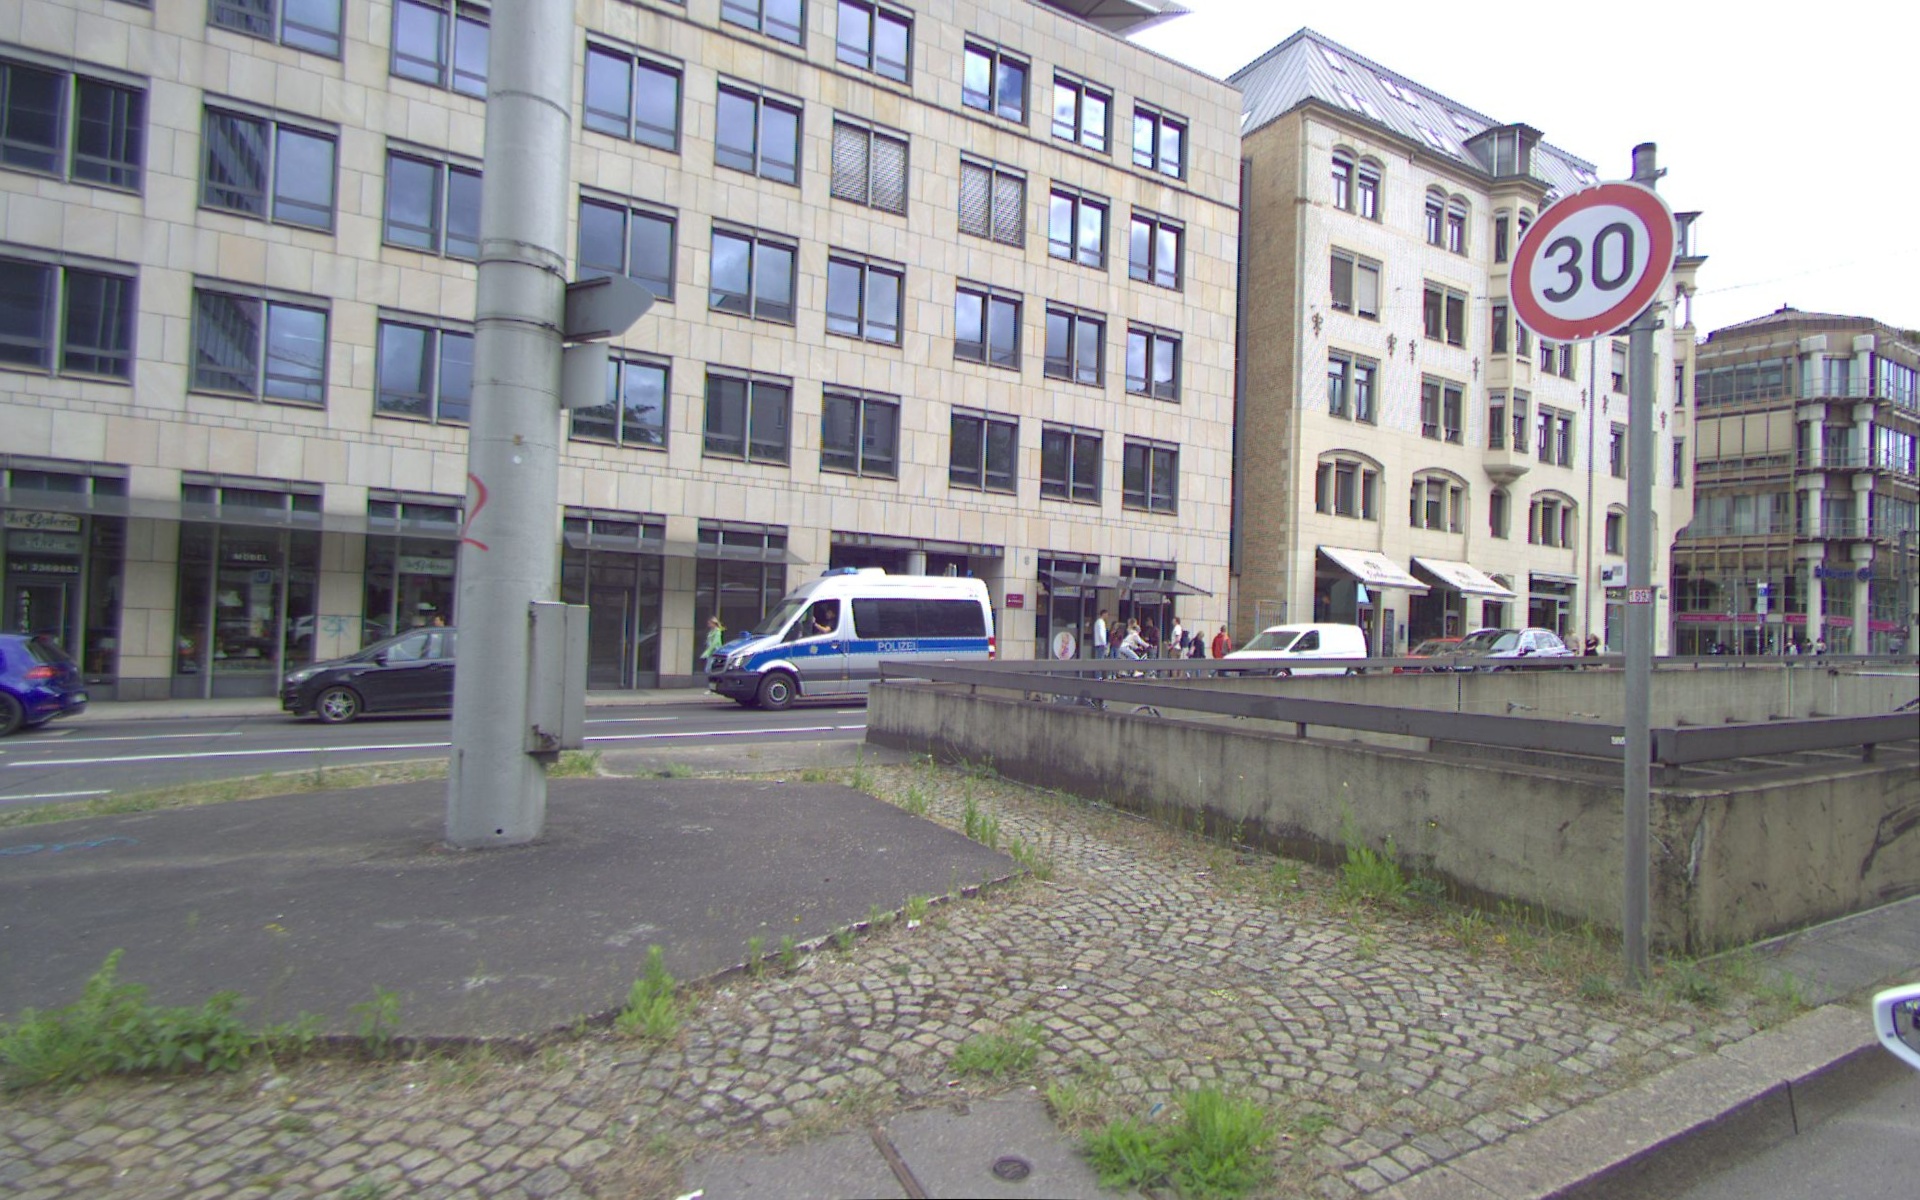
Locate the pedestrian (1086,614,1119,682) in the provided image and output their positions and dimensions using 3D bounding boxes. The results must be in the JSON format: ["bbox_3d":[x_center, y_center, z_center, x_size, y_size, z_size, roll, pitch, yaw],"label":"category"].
[{"bbox_3d":[3.999,1.338,28.202,0.672,1.899,0.613,1,-1,-31],"label":"pedestrian"}]

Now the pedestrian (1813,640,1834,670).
[{"bbox_3d":[47.064,2.989,54.728,0.839,1.564,0.695,2,-1,-37],"label":"pedestrian"}]

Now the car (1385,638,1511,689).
[{"bbox_3d":[14.579,1.857,30.005,3.542,1.424,1.778,2,-2,-31],"label":"car"}]

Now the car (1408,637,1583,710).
[{"bbox_3d":[12.853,1.696,24.023,4.497,1.547,1.905,2,-2,-36],"label":"car"}]

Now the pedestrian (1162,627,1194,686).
[{"bbox_3d":[6.082,1.568,28.068,0.672,1.597,0.549,1,-1,-31],"label":"pedestrian"}]

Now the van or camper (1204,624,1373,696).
[{"bbox_3d":[8.784,1.556,26.775,4.436,1.775,1.858,2,-1,-31],"label":"van or camper"}]

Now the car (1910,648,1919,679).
[{"bbox_3d":[49.359,3.166,49.914,4.831,1.484,1.983,2,-2,-32],"label":"car"}]

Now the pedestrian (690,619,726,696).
[{"bbox_3d":[-5.455,1.233,21.739,0.620,1.645,0.497,1,-1,-30],"label":"pedestrian"}]

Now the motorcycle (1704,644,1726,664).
[{"bbox_3d":[48.556,3.453,64.584,1.924,1.273,0.784,2,-1,-42],"label":"motorcycle"}]

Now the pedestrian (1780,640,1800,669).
[{"bbox_3d":[46.212,3.022,55.921,0.839,1.564,0.695,2,-1,-37],"label":"pedestrian"}]

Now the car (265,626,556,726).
[{"bbox_3d":[-8.915,1.216,16.560,3.983,1.467,1.761,2,-4,-30],"label":"car"}]

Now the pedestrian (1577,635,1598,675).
[{"bbox_3d":[25.017,2.187,40.052,0.577,1.558,0.477,1,-2,-32],"label":"pedestrian"}]

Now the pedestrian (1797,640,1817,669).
[{"bbox_3d":[46.630,3.003,55.317,0.839,1.564,0.695,2,-1,-37],"label":"pedestrian"}]

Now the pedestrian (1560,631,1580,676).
[{"bbox_3d":[24.642,2.150,40.565,0.576,1.780,0.477,1,-2,-30],"label":"pedestrian"}]

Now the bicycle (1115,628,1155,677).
[{"bbox_3d":[4.682,1.385,26.866,0.836,1.277,0.628,2,-1,-33],"label":"bicycle"}]

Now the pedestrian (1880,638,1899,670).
[{"bbox_3d":[54.064,3.137,58.434,0.686,1.817,0.530,2,1,-29],"label":"pedestrian"}]

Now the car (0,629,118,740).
[{"bbox_3d":[-14.252,1.091,13.205,4.517,1.414,1.985,2,-2,-29],"label":"car"}]

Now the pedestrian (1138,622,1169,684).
[{"bbox_3d":[5.604,1.525,29.153,0.672,1.776,0.549,1,-1,-31],"label":"pedestrian"}]

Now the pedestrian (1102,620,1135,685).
[{"bbox_3d":[4.357,1.434,27.576,0.672,1.740,0.552,1,-1,-30],"label":"pedestrian"}]

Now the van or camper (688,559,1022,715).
[{"bbox_3d":[-2.114,0.758,20.630,6.172,2.762,2.988,2,-2,-30],"label":"van or camper"}]

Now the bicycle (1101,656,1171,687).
[{"bbox_3d":[4.713,1.900,26.874,1.938,0.772,0.628,2,-2,-33],"label":"bicycle"}]
